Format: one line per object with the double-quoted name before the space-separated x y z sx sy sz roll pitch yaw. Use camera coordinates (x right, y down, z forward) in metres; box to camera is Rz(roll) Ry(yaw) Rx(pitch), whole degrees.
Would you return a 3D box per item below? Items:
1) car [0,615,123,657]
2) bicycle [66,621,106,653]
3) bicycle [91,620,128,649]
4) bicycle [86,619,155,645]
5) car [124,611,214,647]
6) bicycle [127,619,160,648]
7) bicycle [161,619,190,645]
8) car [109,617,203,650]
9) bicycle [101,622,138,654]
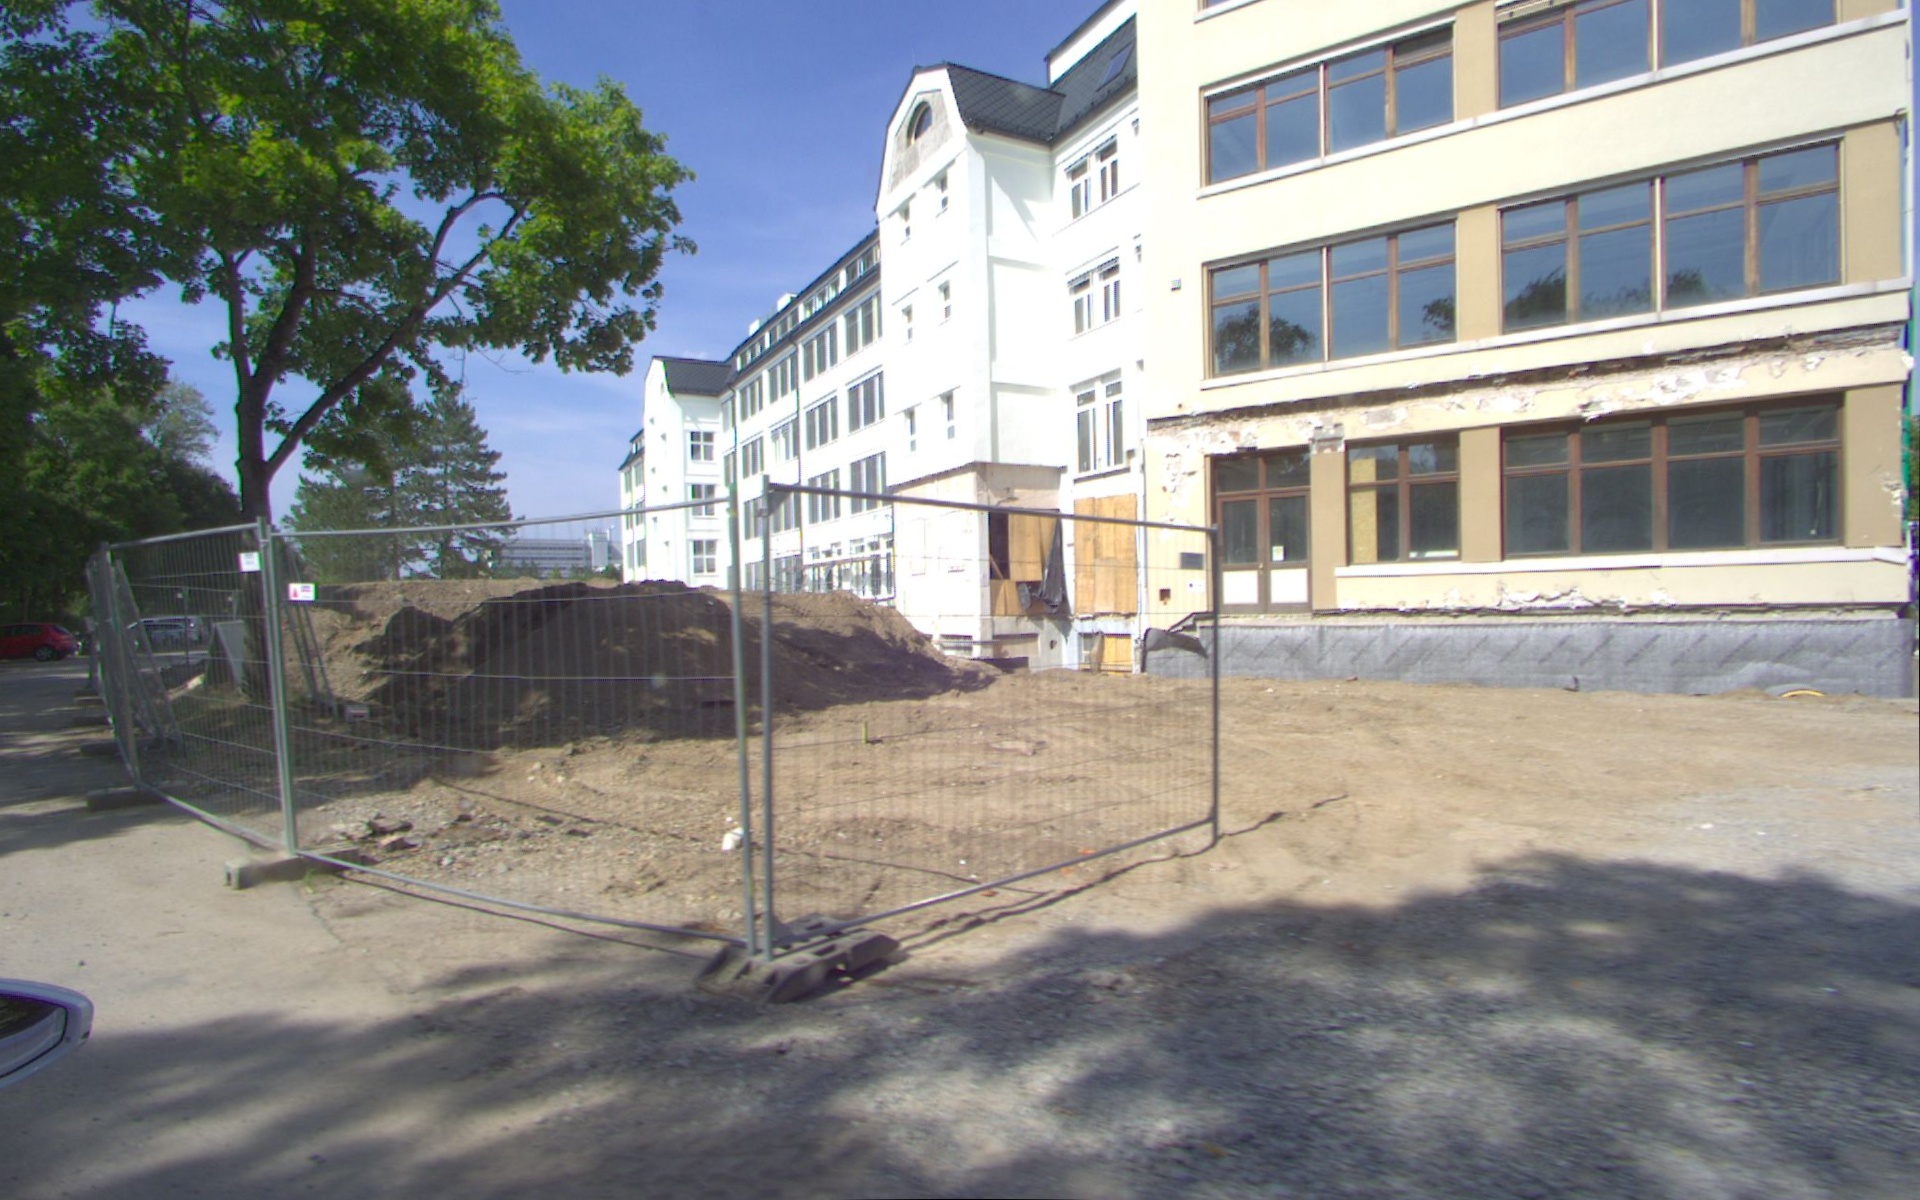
"car" -35.481 1.380 38.907 4.240 1.544 1.882 -1 0 -32
"bicycle" -37.427 1.555 42.923 0.706 1.301 2.777 -1 0 -29
"bicycle" -40.011 1.614 47.122 0.807 1.301 2.670 -1 0 -29
"bicycle" -43.301 1.638 51.690 2.650 1.301 0.813 0 0 -36
"car" -48.002 1.731 60.865 3.939 2.040 1.760 0 0 -27
"bicycle" -38.015 1.548 46.657 0.706 1.301 2.624 -1 0 -29
"bicycle" -42.000 1.696 53.644 0.807 1.301 2.732 -1 0 -29
"car" -46.648 1.921 58.203 3.939 1.795 1.760 0 0 -27
"bicycle" -35.874 1.609 42.751 0.706 1.301 2.670 -1 0 -29
